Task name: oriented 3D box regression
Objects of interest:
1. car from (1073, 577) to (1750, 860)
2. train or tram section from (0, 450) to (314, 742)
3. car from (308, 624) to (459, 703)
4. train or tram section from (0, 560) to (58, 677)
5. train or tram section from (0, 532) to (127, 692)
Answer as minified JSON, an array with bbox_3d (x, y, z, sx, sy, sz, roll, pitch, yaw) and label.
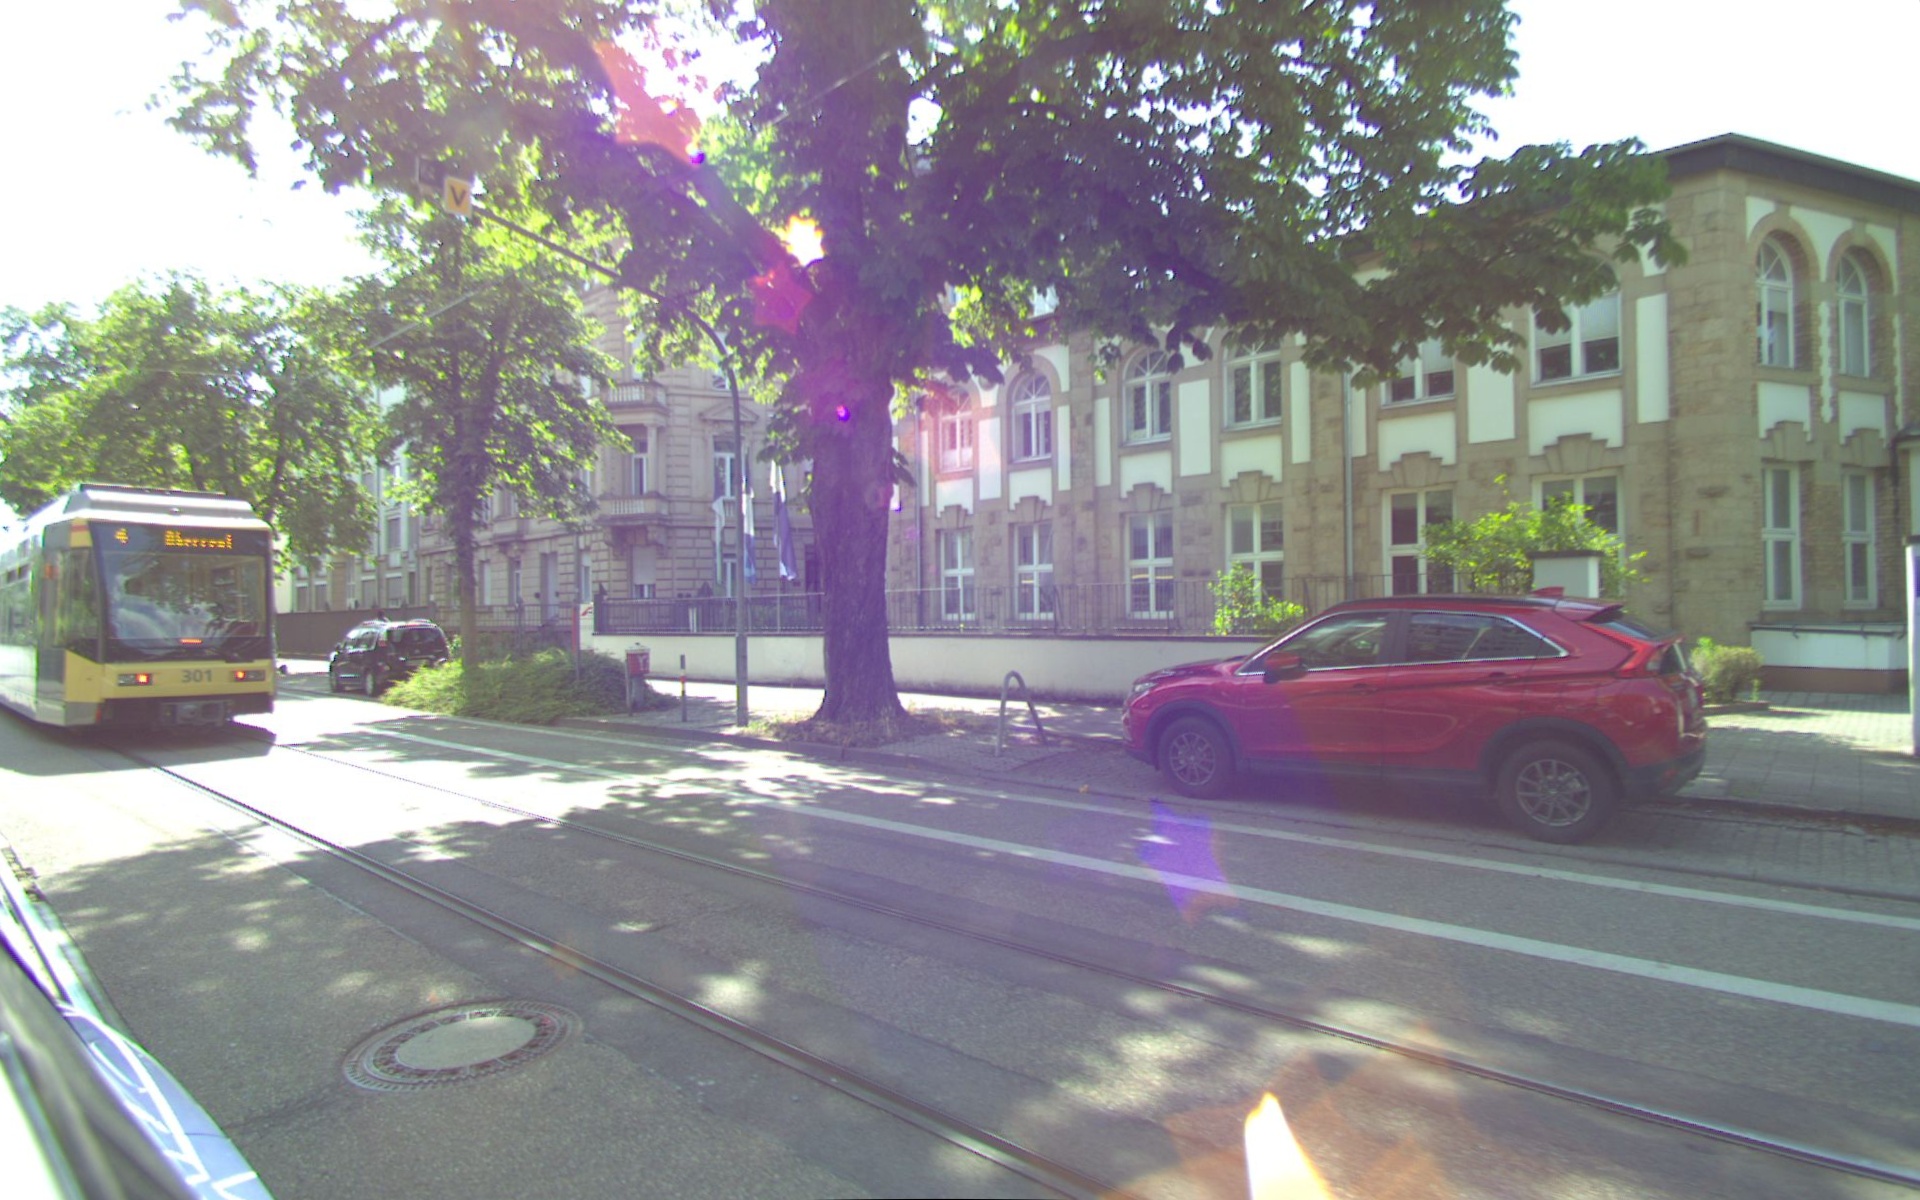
[{"bbox_3d":[3.376,0.733,8.240,4.718,1.678,1.732,-1,0,41],"label":"car"},{"bbox_3d":[-14.884,0.125,17.463,14.106,3.382,2.624,-1,-3,42],"label":"train or tram section"},{"bbox_3d":[-13.713,1.422,23.960,4.330,1.653,1.788,-1,0,42],"label":"car"},{"bbox_3d":[-32.963,0.701,33.981,12.312,3.463,2.624,-2,-4,42],"label":"train or tram section"},{"bbox_3d":[-24.243,0.393,26.028,11.471,3.415,2.624,-1,-3,42],"label":"train or tram section"}]
